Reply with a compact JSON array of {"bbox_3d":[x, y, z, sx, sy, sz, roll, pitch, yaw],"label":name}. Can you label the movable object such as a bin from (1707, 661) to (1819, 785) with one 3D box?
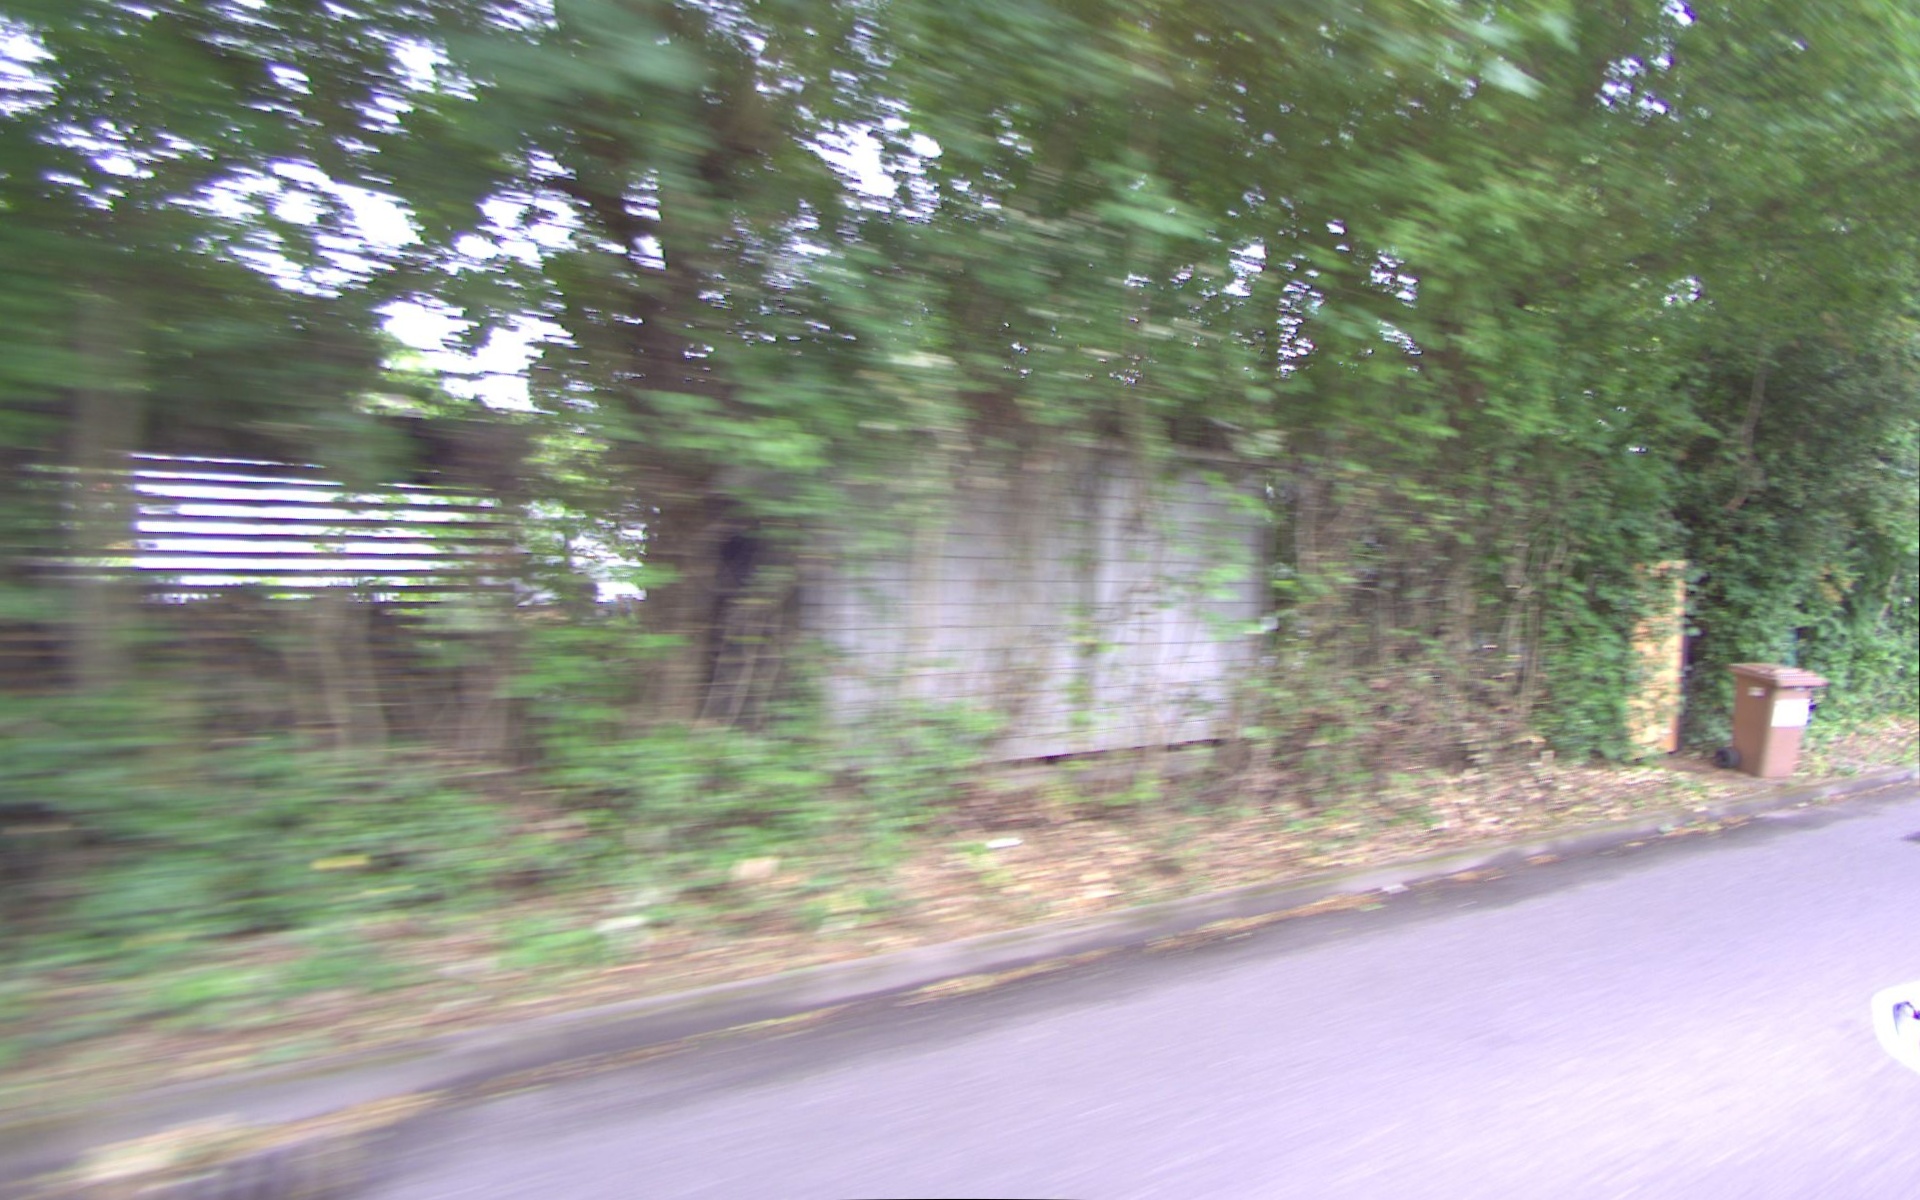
[{"bbox_3d":[6.852,1.027,8.580,0.464,0.970,0.587,2,1,-30],"label":"movable object such as a bin"}]
